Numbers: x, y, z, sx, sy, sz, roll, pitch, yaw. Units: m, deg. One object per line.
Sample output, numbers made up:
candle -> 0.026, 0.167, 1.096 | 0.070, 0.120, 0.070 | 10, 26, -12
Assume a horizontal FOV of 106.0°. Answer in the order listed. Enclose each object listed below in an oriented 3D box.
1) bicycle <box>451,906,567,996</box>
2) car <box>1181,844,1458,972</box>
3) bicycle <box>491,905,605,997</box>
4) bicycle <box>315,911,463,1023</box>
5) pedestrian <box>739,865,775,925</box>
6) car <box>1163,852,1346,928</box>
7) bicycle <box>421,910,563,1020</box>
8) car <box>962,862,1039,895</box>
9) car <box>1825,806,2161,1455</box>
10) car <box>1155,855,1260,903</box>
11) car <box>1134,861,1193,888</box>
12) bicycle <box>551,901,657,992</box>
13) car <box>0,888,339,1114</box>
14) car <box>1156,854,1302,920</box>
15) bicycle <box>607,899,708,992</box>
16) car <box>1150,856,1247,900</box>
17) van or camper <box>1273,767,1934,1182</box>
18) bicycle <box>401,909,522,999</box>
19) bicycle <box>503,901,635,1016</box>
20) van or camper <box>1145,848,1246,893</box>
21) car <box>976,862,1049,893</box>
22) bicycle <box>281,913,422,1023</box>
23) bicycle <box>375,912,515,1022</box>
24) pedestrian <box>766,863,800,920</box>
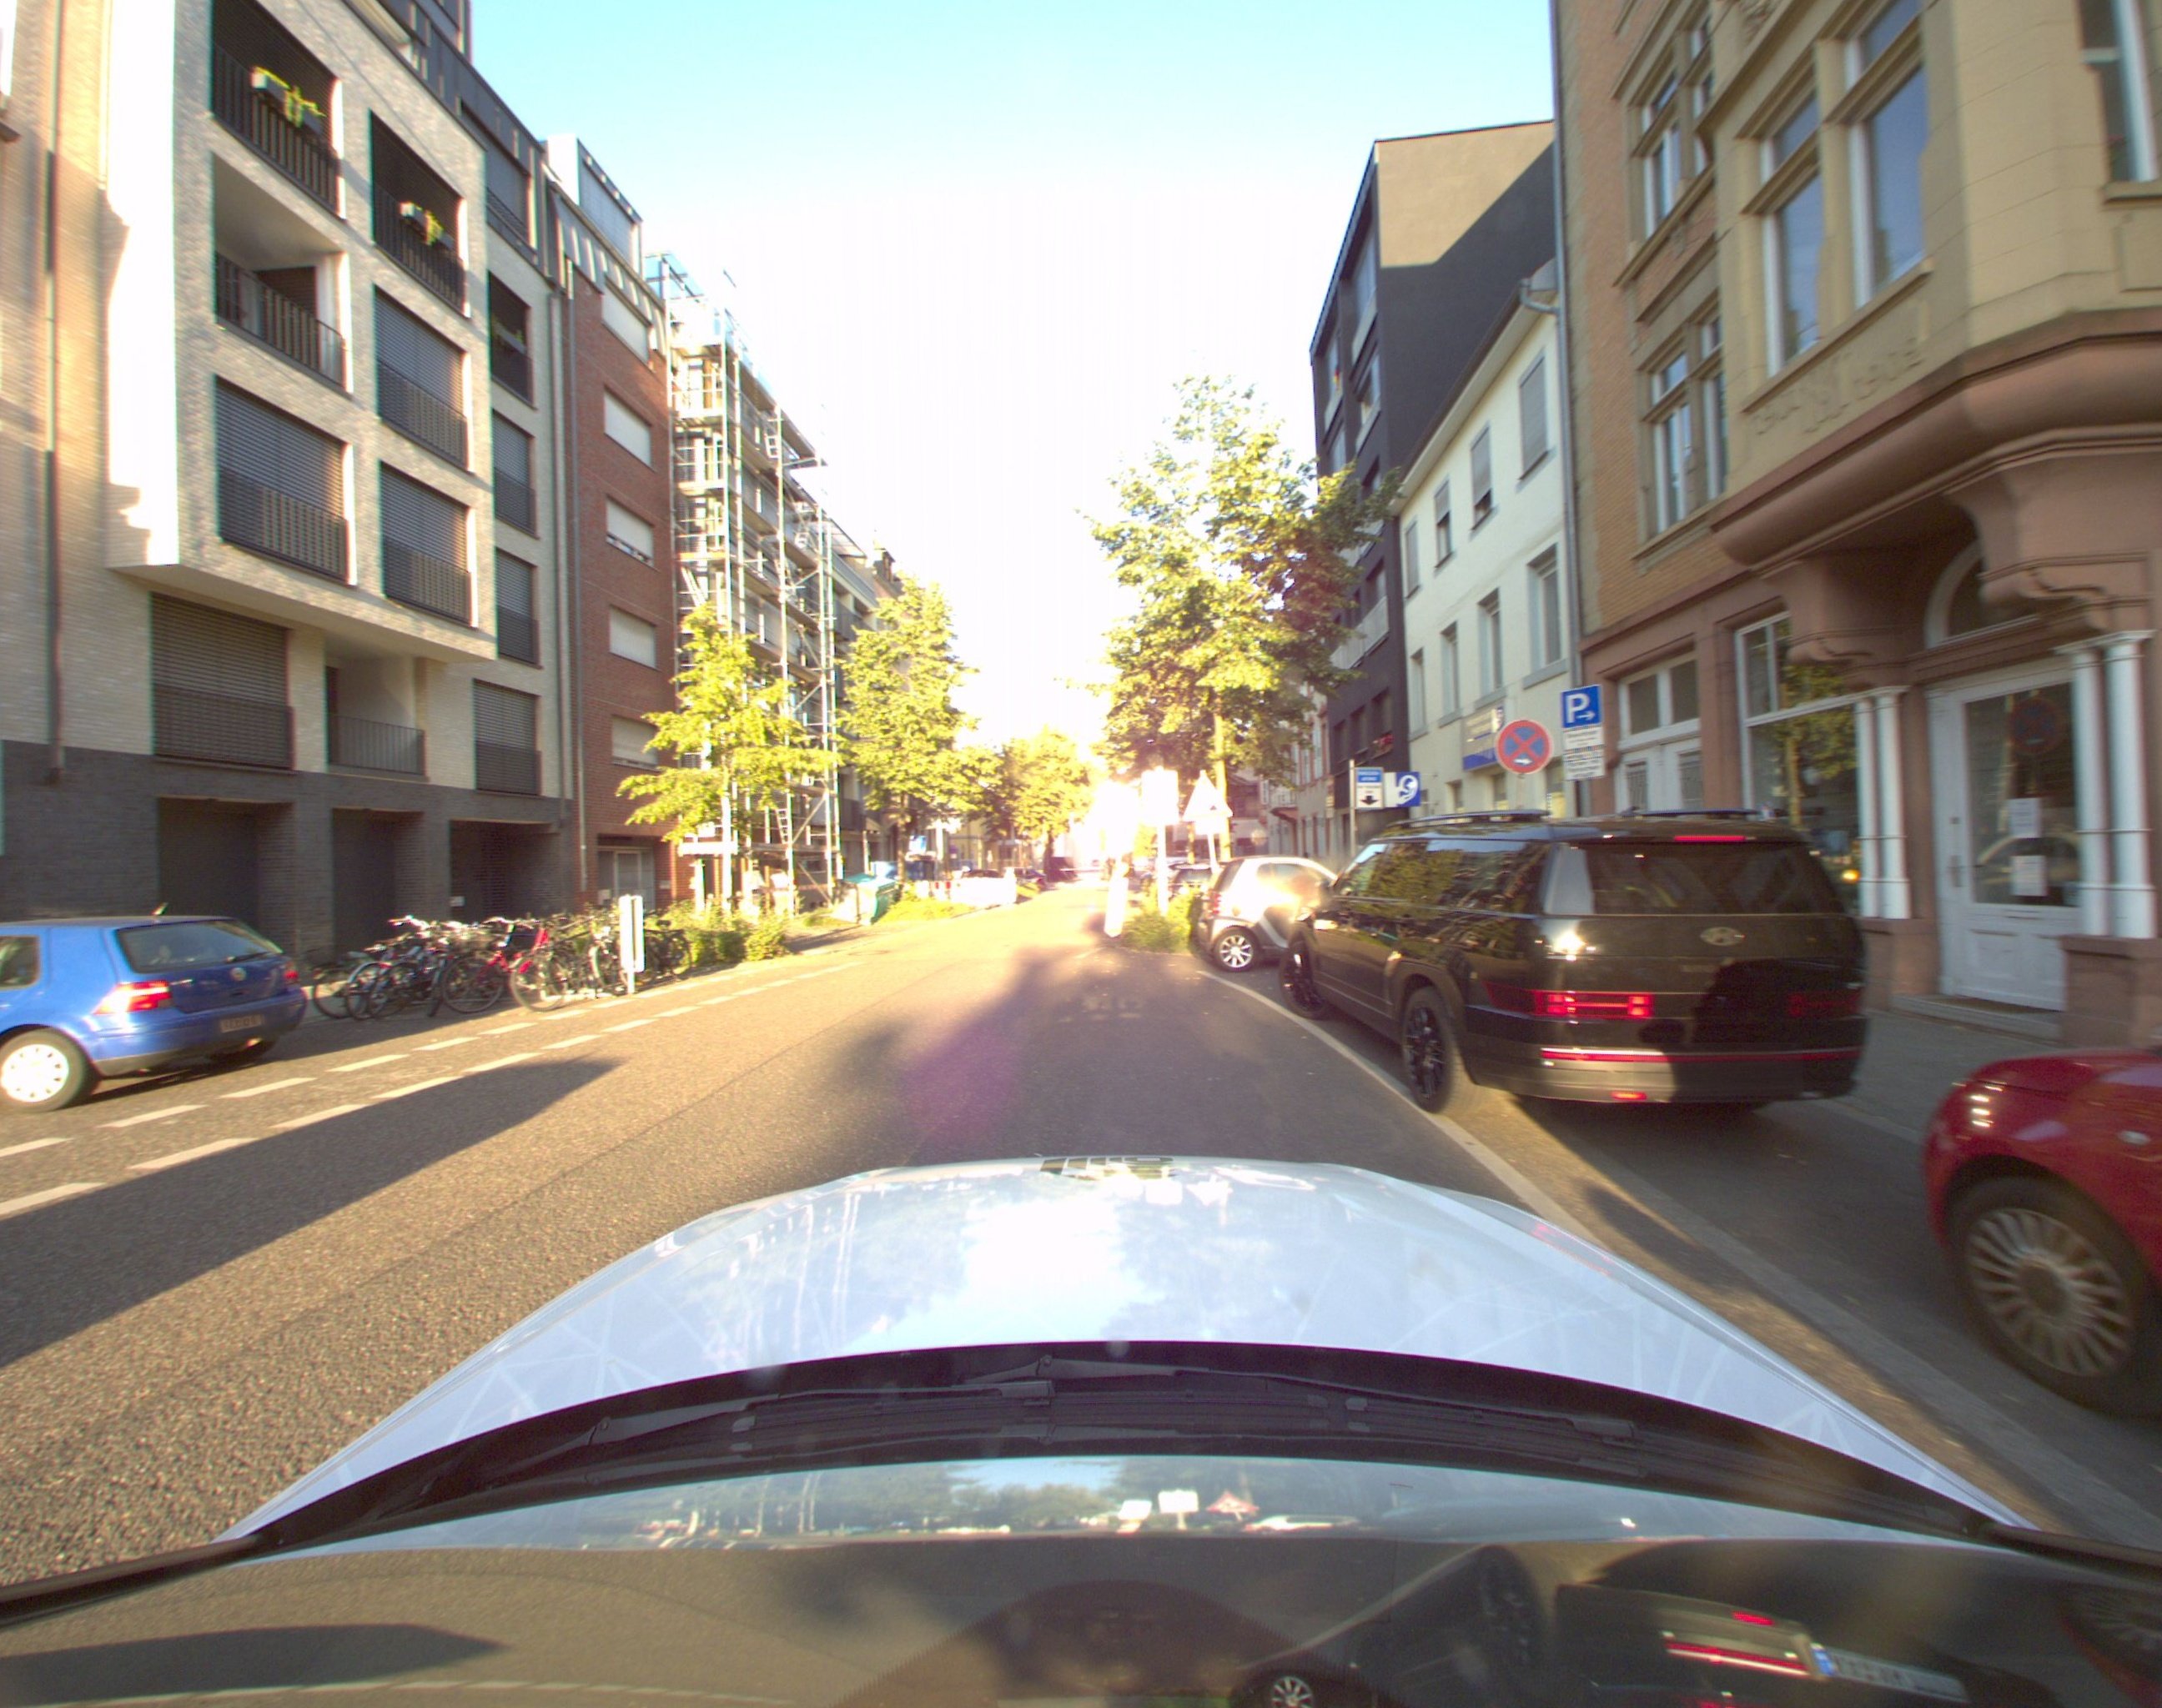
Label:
bicycle -> -8.367, 1.388, 11.988 | 0.465, 1.144, 1.554 | -2, -1, 6
car -> 3.294, 0.717, 11.608 | 3.463, 1.576, 1.506 | -2, -1, -4
bicycle -> -7.686, 1.359, 11.820 | 0.485, 1.149, 1.554 | -2, -1, 6
bicycle -> -8.594, 1.364, 10.192 | 0.384, 1.189, 1.554 | -2, -1, 6
pedestrian -> -9.928, 1.239, 24.948 | 0.737, 1.783, 0.657 | -2, -1, 5
car -> 3.963, 0.825, 19.187 | 3.979, 1.670, 1.860 | -1, -1, 3
bicycle -> -7.270, 1.332, 10.138 | 0.414, 1.157, 1.557 | -2, -1, 11
car -> -4.500, 1.375, 45.863 | 3.965, 1.684, 1.895 | -2, -1, 7
car -> 3.274, 0.656, 1.180 | 1.518, 1.570, 3.428 | -1, 0, 7
car -> 4.607, 0.909, 30.075 | 3.670, 1.670, 1.860 | -1, -1, 3
car -> 5.093, 1.220, 49.919 | 1.834, 1.568, 3.720 | -1, -1, 38
bicycle -> -6.913, 1.308, 11.896 | 0.485, 1.163, 1.554 | -2, -1, 6
car -> -9.097, 1.204, 6.746 | 4.099, 1.563, 1.690 | -3, -1, -6
car -> 3.905, 0.864, 21.935 | 3.670, 1.670, 1.860 | -1, -1, 3
bicycle -> -6.111, 1.291, 11.843 | 0.505, 1.179, 1.554 | -2, -1, 6
car -> 4.622, 0.937, 32.393 | 3.670, 1.670, 1.860 | -1, -1, 3
van or camper -> 2.871, 0.551, 5.881 | 1.883, 1.807, 4.460 | -1, 0, 0
bicycle -> -9.067, 1.429, 11.991 | 0.455, 1.132, 1.554 | -2, -1, 6
bicycle -> -6.274, 1.239, 10.075 | 0.495, 1.220, 1.554 | -2, -1, 6
van or camper -> 5.209, 0.745, 37.483 | 4.421, 2.005, 1.860 | -1, -1, 3
car -> -4.058, 1.405, 48.530 | 3.965, 1.684, 1.895 | -2, -1, 7
bicycle -> -9.128, 1.393, 10.258 | 0.385, 1.183, 1.407 | -2, -1, 6
bicycle -> -7.838, 1.354, 10.118 | 0.379, 1.160, 1.554 | -2, -1, 6
pedestrian -> -9.516, 1.180, 25.998 | 0.738, 1.783, 0.657 | -2, -1, 3
